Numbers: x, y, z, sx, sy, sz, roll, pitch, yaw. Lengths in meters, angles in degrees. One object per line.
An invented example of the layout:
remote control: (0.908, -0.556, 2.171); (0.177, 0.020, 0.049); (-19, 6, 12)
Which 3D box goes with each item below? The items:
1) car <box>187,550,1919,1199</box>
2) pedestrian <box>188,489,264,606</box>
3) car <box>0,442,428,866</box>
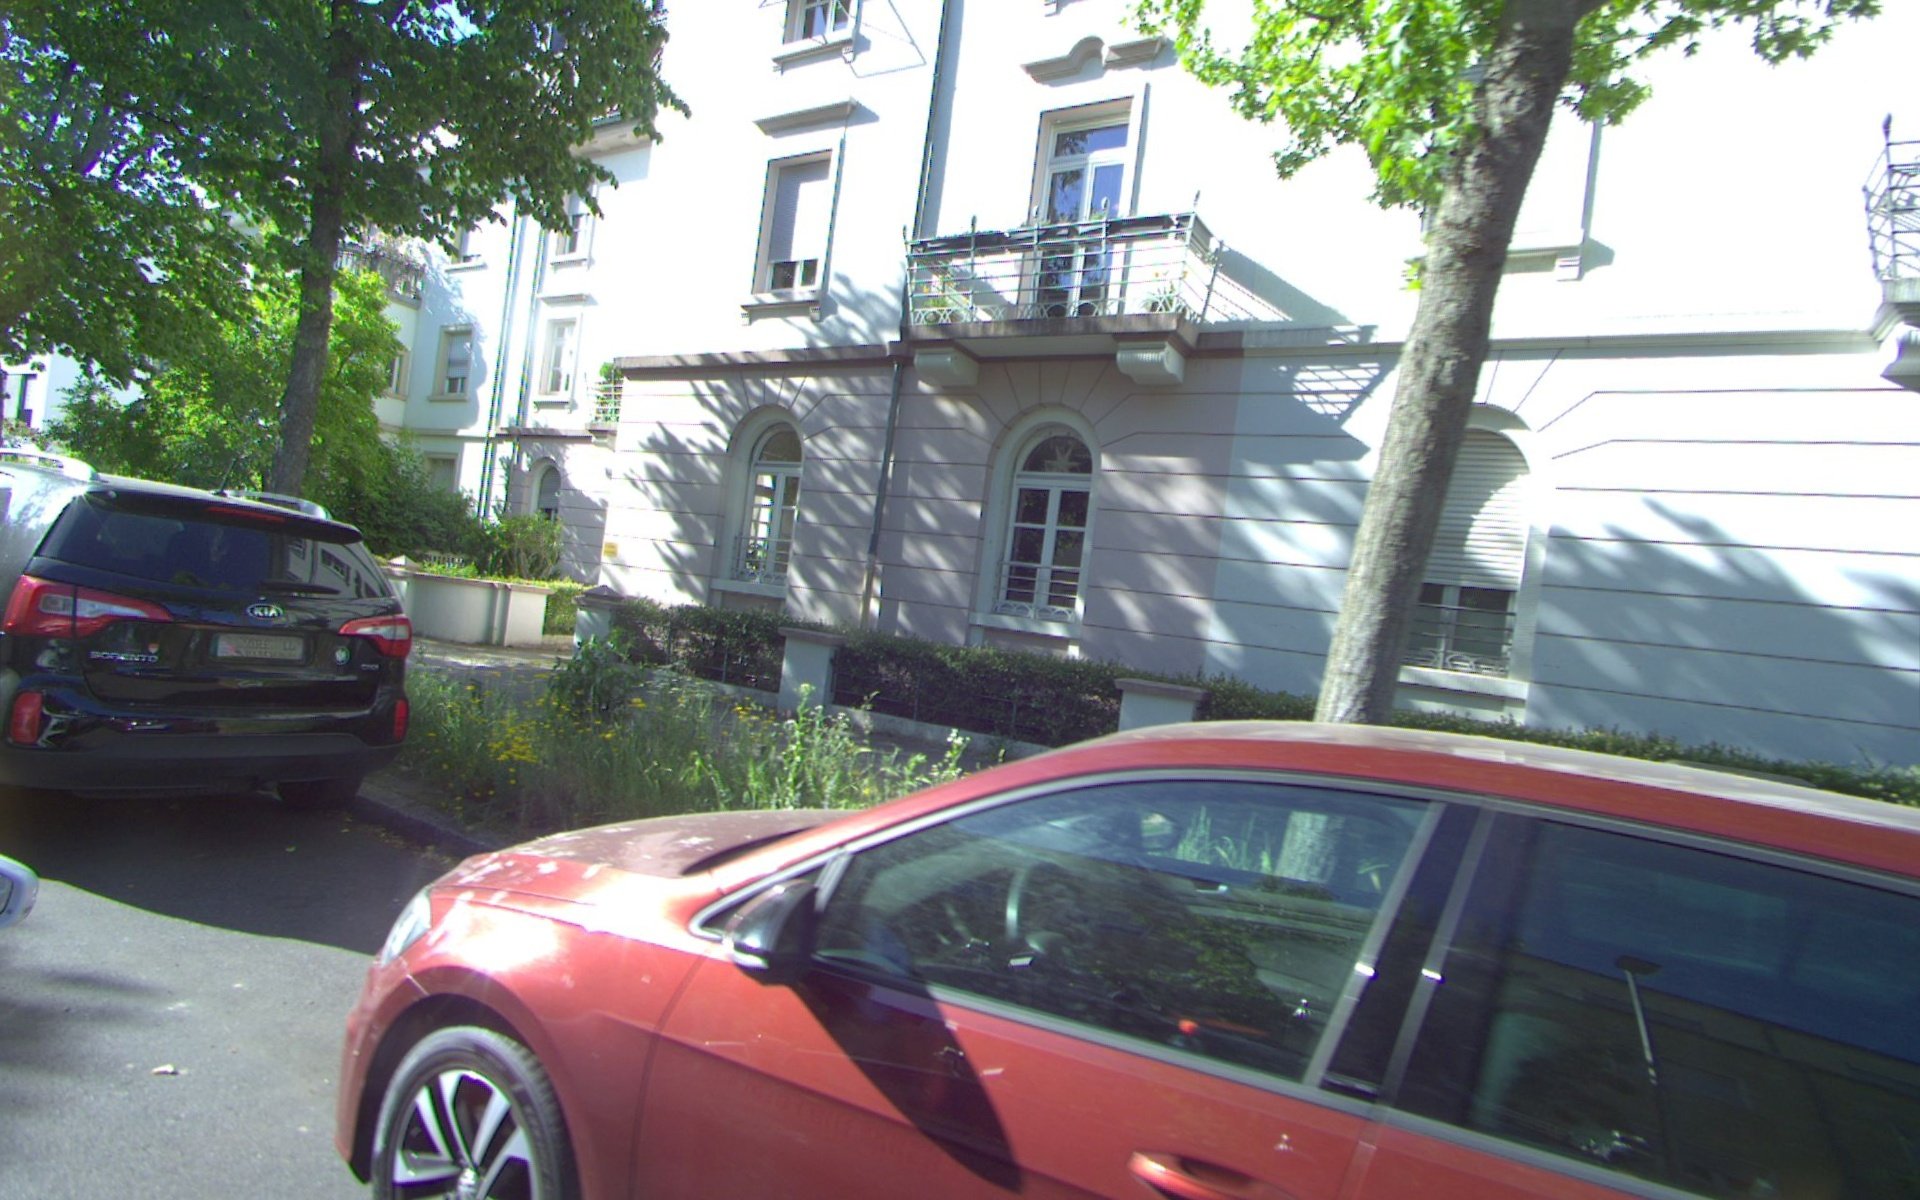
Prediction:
car: (0.537, 0.888, 2.019); (4.276, 1.427, 1.615); (7, 0, 28)
pedestrian: (-11.994, -0.848, 16.437); (0.786, 1.797, 0.623); (7, 1, 32)
car: (-5.245, 0.065, 5.851); (4.226, 1.719, 1.783); (7, 0, 32)
